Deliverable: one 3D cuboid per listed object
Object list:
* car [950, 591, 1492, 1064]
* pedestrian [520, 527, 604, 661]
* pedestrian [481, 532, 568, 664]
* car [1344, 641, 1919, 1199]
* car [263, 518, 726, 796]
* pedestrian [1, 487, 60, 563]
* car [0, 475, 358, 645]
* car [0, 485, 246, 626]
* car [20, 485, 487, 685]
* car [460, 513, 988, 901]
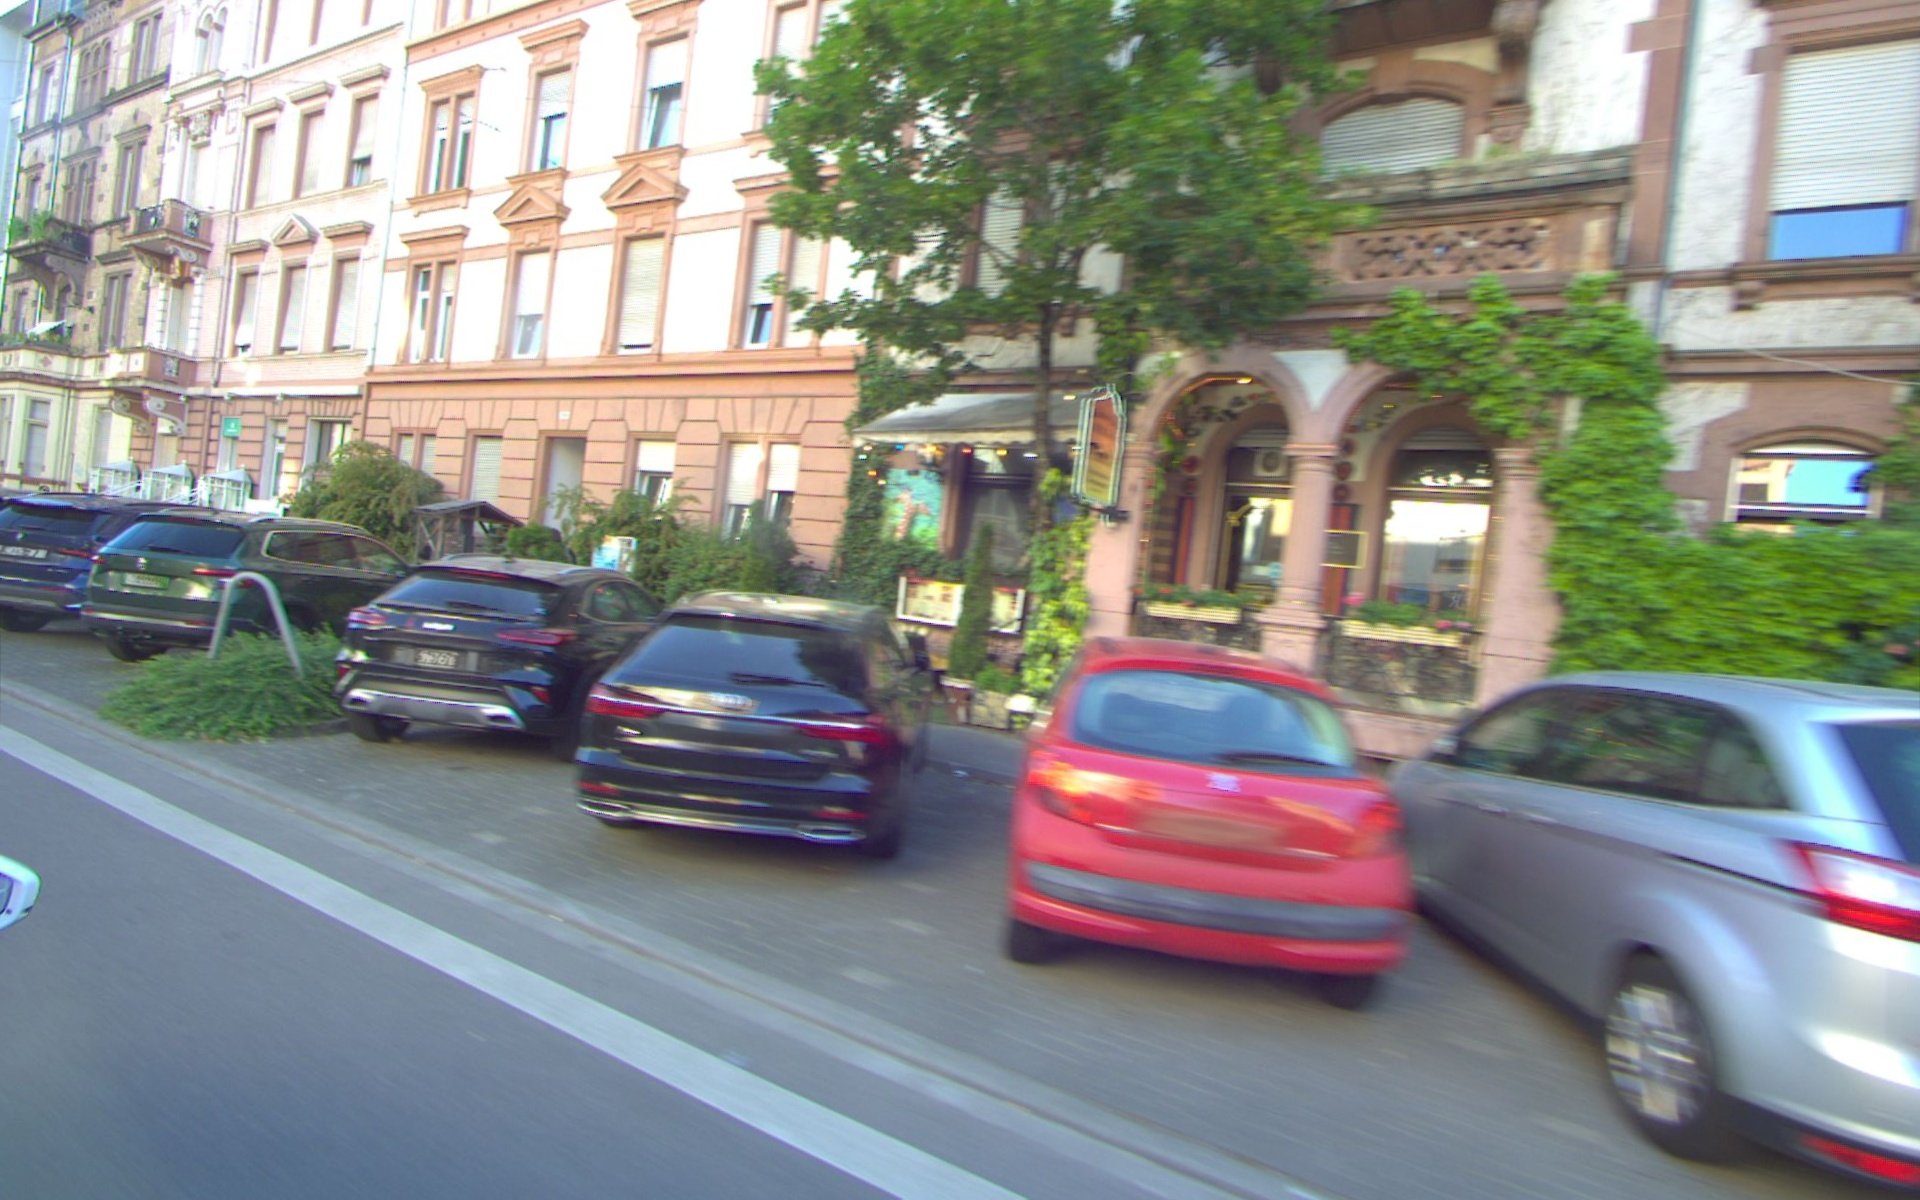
[{"bbox_3d":[1.215,0.948,5.867,1.882,1.554,4.005,7,-2,7],"label":"car"},{"bbox_3d":[-5.653,-0.083,14.289,0.849,1.799,0.518,6,-1,32],"label":"pedestrian"},{"bbox_3d":[-5.884,-0.030,13.596,0.849,1.668,0.518,6,-1,32],"label":"pedestrian"},{"bbox_3d":[3.344,1.123,4.583,1.818,1.614,4.371,7,-2,7],"label":"car"},{"bbox_3d":[-3.605,0.304,8.860,2.008,1.617,4.326,7,2,-1],"label":"car"},{"bbox_3d":[-21.540,-1.734,23.308,0.643,1.626,0.713,6,-1,30],"label":"pedestrian"},{"bbox_3d":[-9.830,-0.394,12.327,2.048,1.614,4.005,7,-2,7],"label":"car"},{"bbox_3d":[-12.184,-0.593,13.488,1.946,1.614,4.319,7,-2,1],"label":"car"},{"bbox_3d":[-7.411,-0.050,11.180,1.922,1.614,4.005,7,-2,7],"label":"car"},{"bbox_3d":[-1.114,0.603,7.081,2.049,1.614,4.454,7,-2,7],"label":"car"}]
